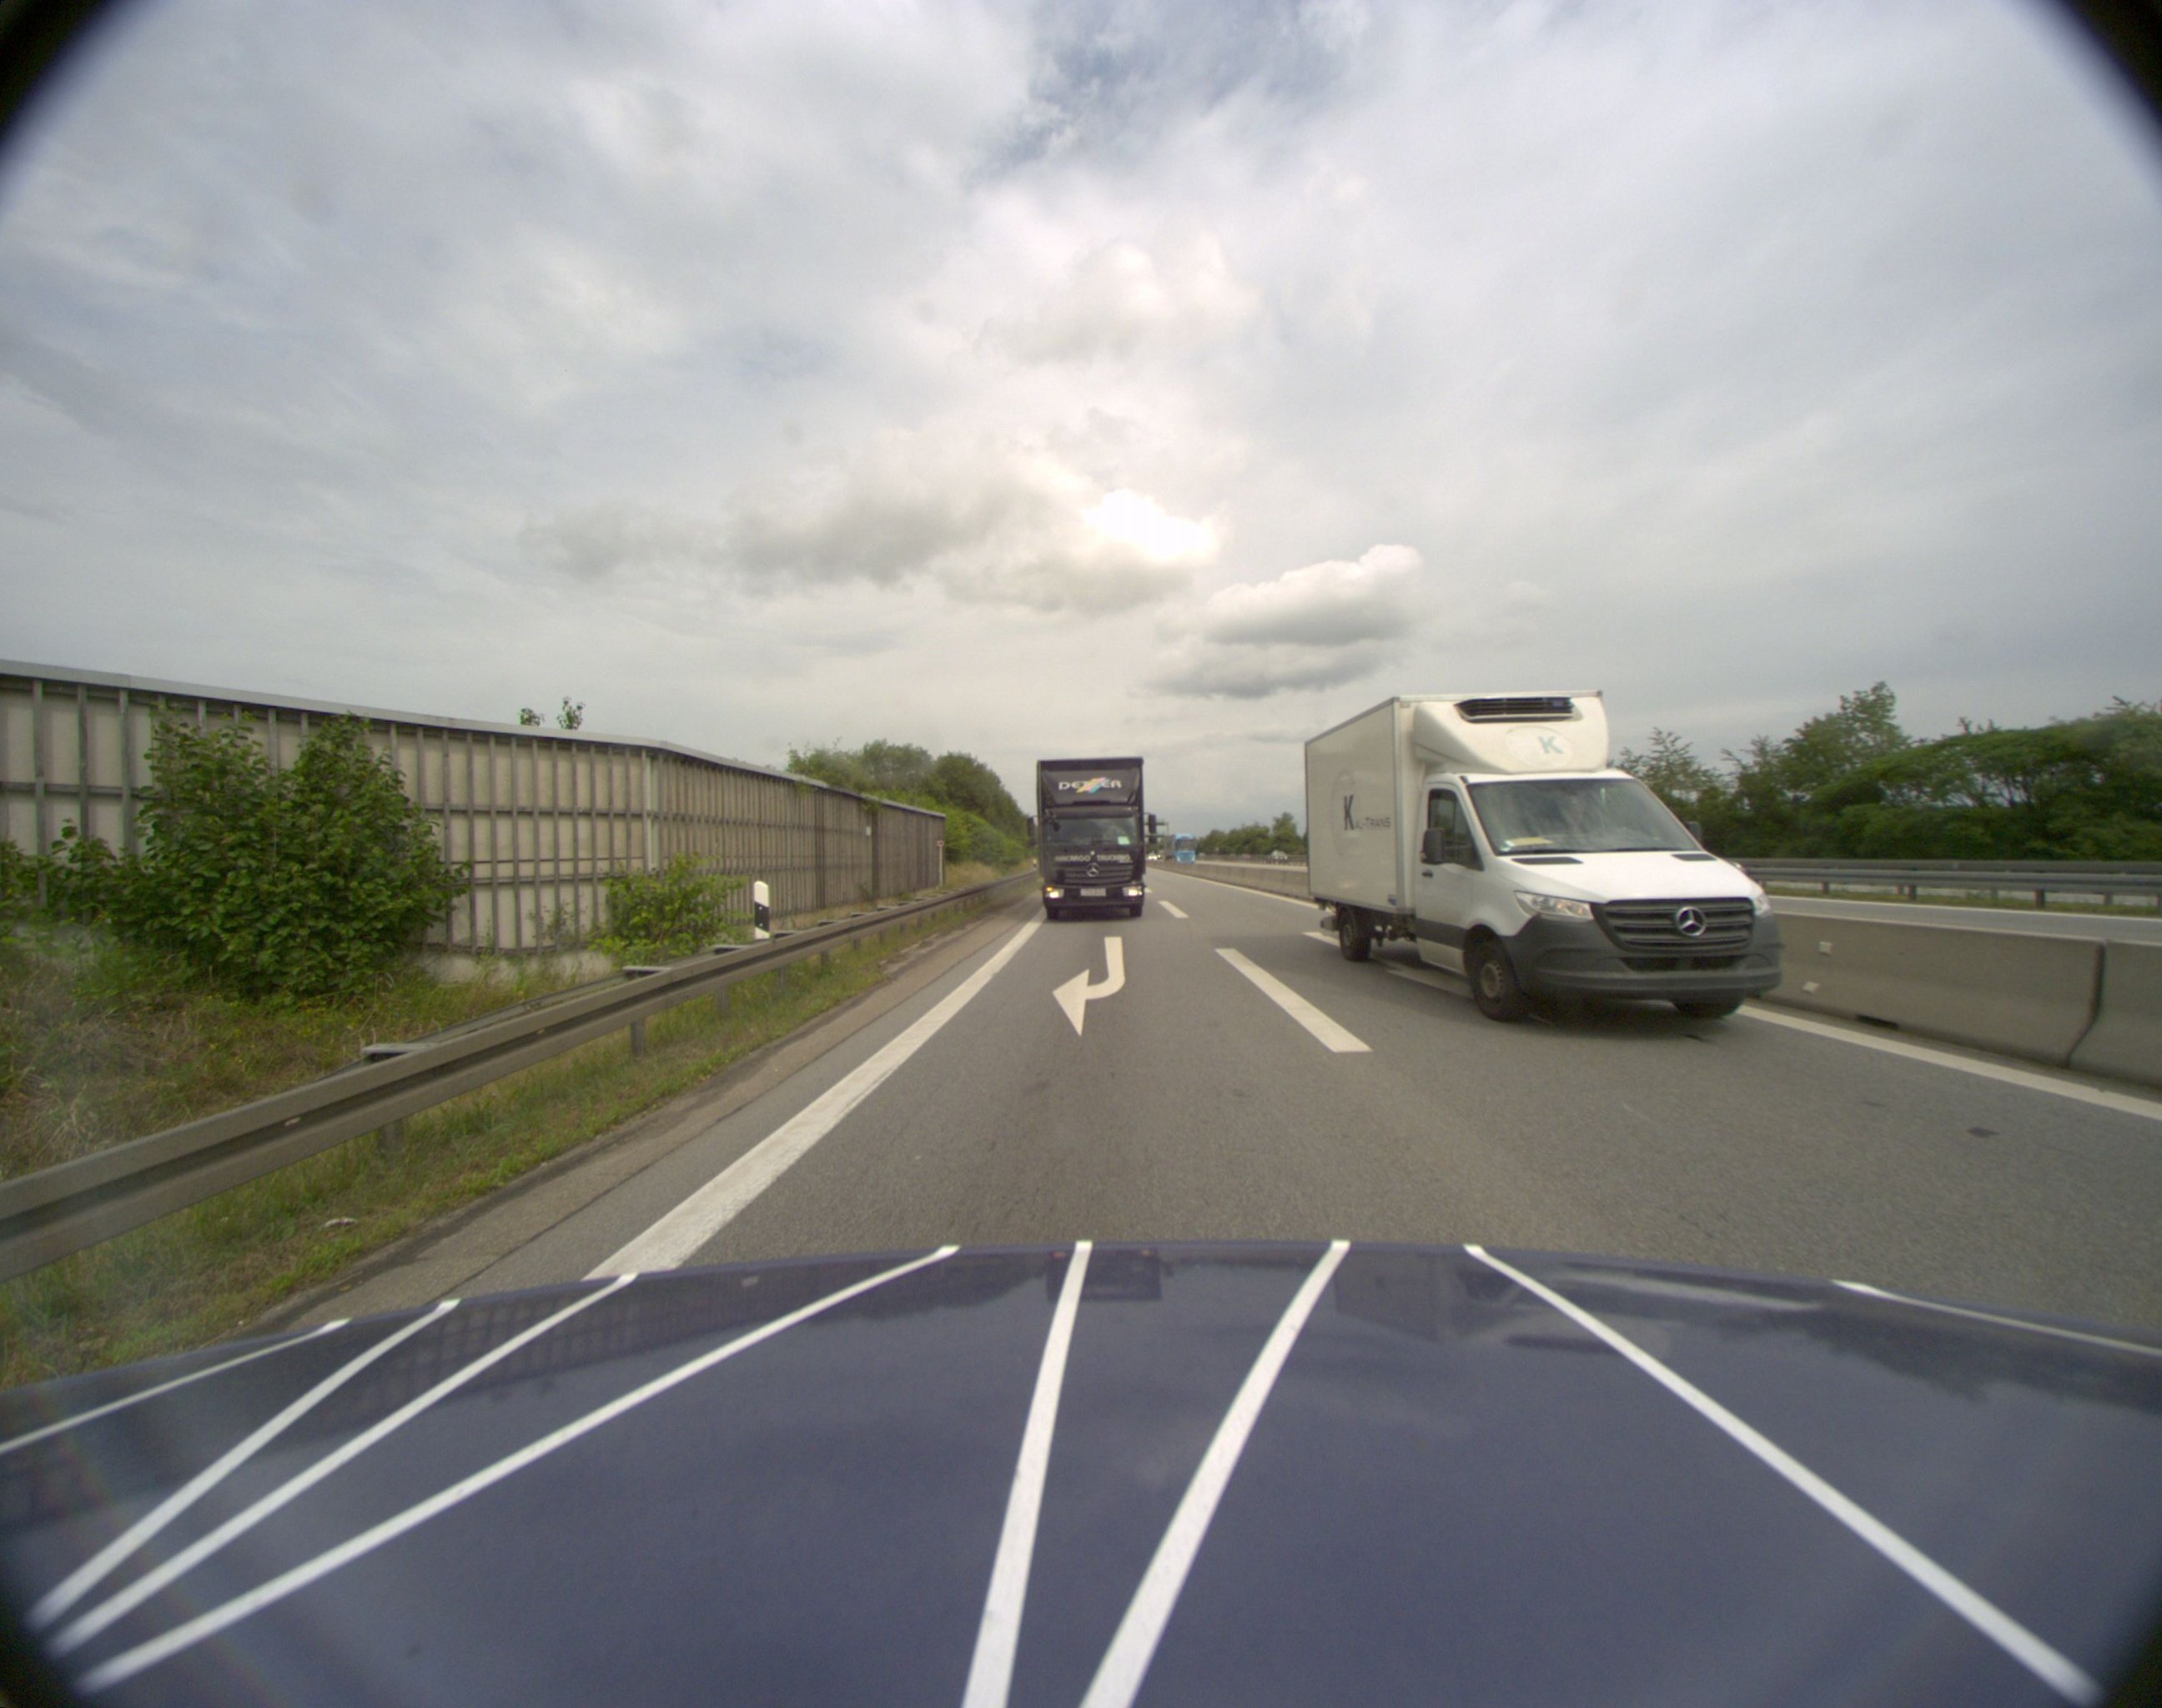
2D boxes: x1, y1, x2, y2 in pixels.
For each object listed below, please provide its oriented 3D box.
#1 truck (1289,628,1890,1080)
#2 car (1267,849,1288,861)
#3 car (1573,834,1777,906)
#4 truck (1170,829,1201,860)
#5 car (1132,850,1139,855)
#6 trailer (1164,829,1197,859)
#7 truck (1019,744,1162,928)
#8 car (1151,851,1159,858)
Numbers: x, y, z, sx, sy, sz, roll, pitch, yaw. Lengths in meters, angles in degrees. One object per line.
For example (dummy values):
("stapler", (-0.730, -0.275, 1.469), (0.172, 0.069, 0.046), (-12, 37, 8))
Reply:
("truck", (4.419, -0.012, 8.473), (2.410, 3.072, 6.369), (-2, 0, 0))
("car", (26.118, 0.104, 101.119), (1.691, 1.460, 4.004), (-2, 0, 0))
("car", (15.430, 0.364, 20.101), (1.998, 1.652, 4.384), (-2, 0, 1))
("truck", (13.797, -1.261, 101.114), (3.255, 3.889, 6.609), (-2, 1, 1))
("car", (16.732, -0.569, 232.626), (1.757, 1.361, 4.205), (-1, 1, -1))
("trailer", (13.912, -1.348, 107.312), (3.244, 3.901, 12.379), (-2, 1, 1))
("truck", (0.031, -0.416, 21.732), (3.025, 3.931, 10.337), (-2, 0, -2))
("car", (14.819, 0.071, 152.135), (1.684, 1.476, 3.776), (-1, 0, 6))
